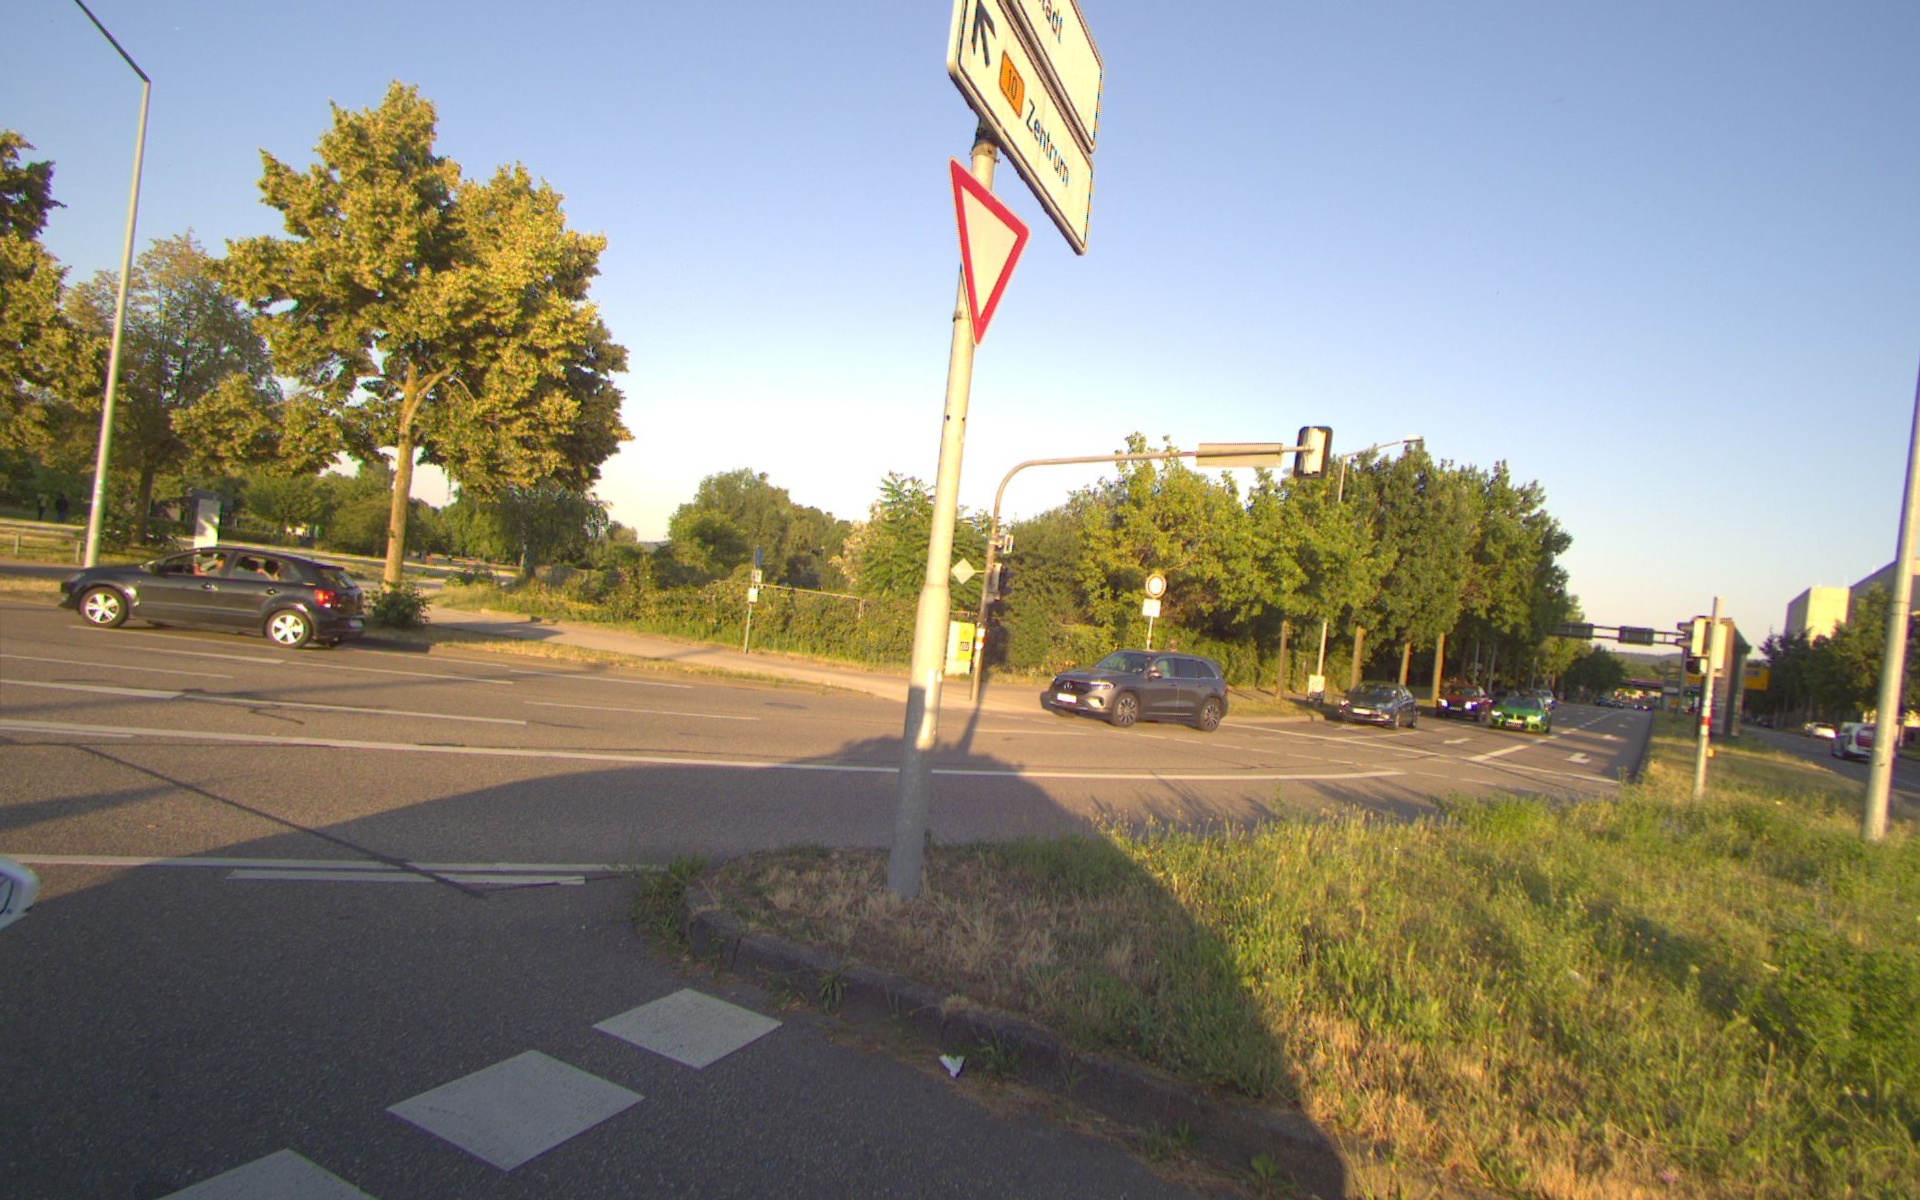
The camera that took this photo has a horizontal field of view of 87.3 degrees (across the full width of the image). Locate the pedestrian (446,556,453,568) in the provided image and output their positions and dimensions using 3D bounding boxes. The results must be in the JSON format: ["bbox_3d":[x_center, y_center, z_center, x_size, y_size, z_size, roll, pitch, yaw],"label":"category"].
[{"bbox_3d":[-80.292,-5.945,158.132,0.845,1.681,0.971,7,0,-28],"label":"pedestrian"}]

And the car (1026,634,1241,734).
[{"bbox_3d":[3.823,1.844,21.739,4.490,1.657,1.979,8,-1,-39],"label":"car"}]

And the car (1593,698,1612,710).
[{"bbox_3d":[96.636,15.645,151.286,1.887,1.602,4.167,7,-1,37],"label":"car"}]

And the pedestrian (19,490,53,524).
[{"bbox_3d":[-50.393,-5.084,54.886,0.896,1.637,1.070,7,0,34],"label":"pedestrian"}]

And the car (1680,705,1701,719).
[{"bbox_3d":[95.189,14.531,131.035,1.969,1.523,4.101,7,-1,35],"label":"car"}]

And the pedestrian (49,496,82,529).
[{"bbox_3d":[-49.501,-4.855,55.651,0.896,1.637,1.070,7,0,34],"label":"pedestrian"}]

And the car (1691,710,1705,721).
[{"bbox_3d":[137.929,21.573,188.001,1.969,1.804,3.988,7,-1,37],"label":"car"}]

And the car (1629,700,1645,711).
[{"bbox_3d":[116.469,18.198,173.057,1.969,1.523,4.758,7,-1,35],"label":"car"}]

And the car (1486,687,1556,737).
[{"bbox_3d":[22.443,4.437,40.174,1.968,1.598,4.475,7,-1,34],"label":"car"}]

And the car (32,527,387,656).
[{"bbox_3d":[-11.397,-0.108,15.567,3.936,1.370,1.690,8,0,-12],"label":"car"}]

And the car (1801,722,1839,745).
[{"bbox_3d":[75.917,11.771,88.899,1.969,1.527,5.171,7,-1,36],"label":"car"}]

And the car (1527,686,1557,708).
[{"bbox_3d":[46.320,7.682,80.143,1.836,1.471,3.967,7,-1,29],"label":"car"}]

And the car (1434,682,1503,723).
[{"bbox_3d":[23.964,4.842,47.352,1.970,1.592,4.400,7,-1,38],"label":"car"}]

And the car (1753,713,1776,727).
[{"bbox_3d":[106.903,15.918,133.666,1.969,1.593,3.989,7,-1,35],"label":"car"}]

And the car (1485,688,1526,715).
[{"bbox_3d":[33.885,6.293,62.418,1.837,1.406,4.154,7,-1,33],"label":"car"}]

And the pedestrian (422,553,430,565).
[{"bbox_3d":[-82.367,-6.332,155.277,0.846,1.681,0.970,7,0,-33],"label":"pedestrian"}]

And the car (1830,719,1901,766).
[{"bbox_3d":[46.330,7.250,51.562,2.037,1.970,4.945,7,-1,37],"label":"car"}]

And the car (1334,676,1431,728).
[{"bbox_3d":[14.100,3.401,33.443,1.859,1.481,4.656,3,-4,37],"label":"car"}]
